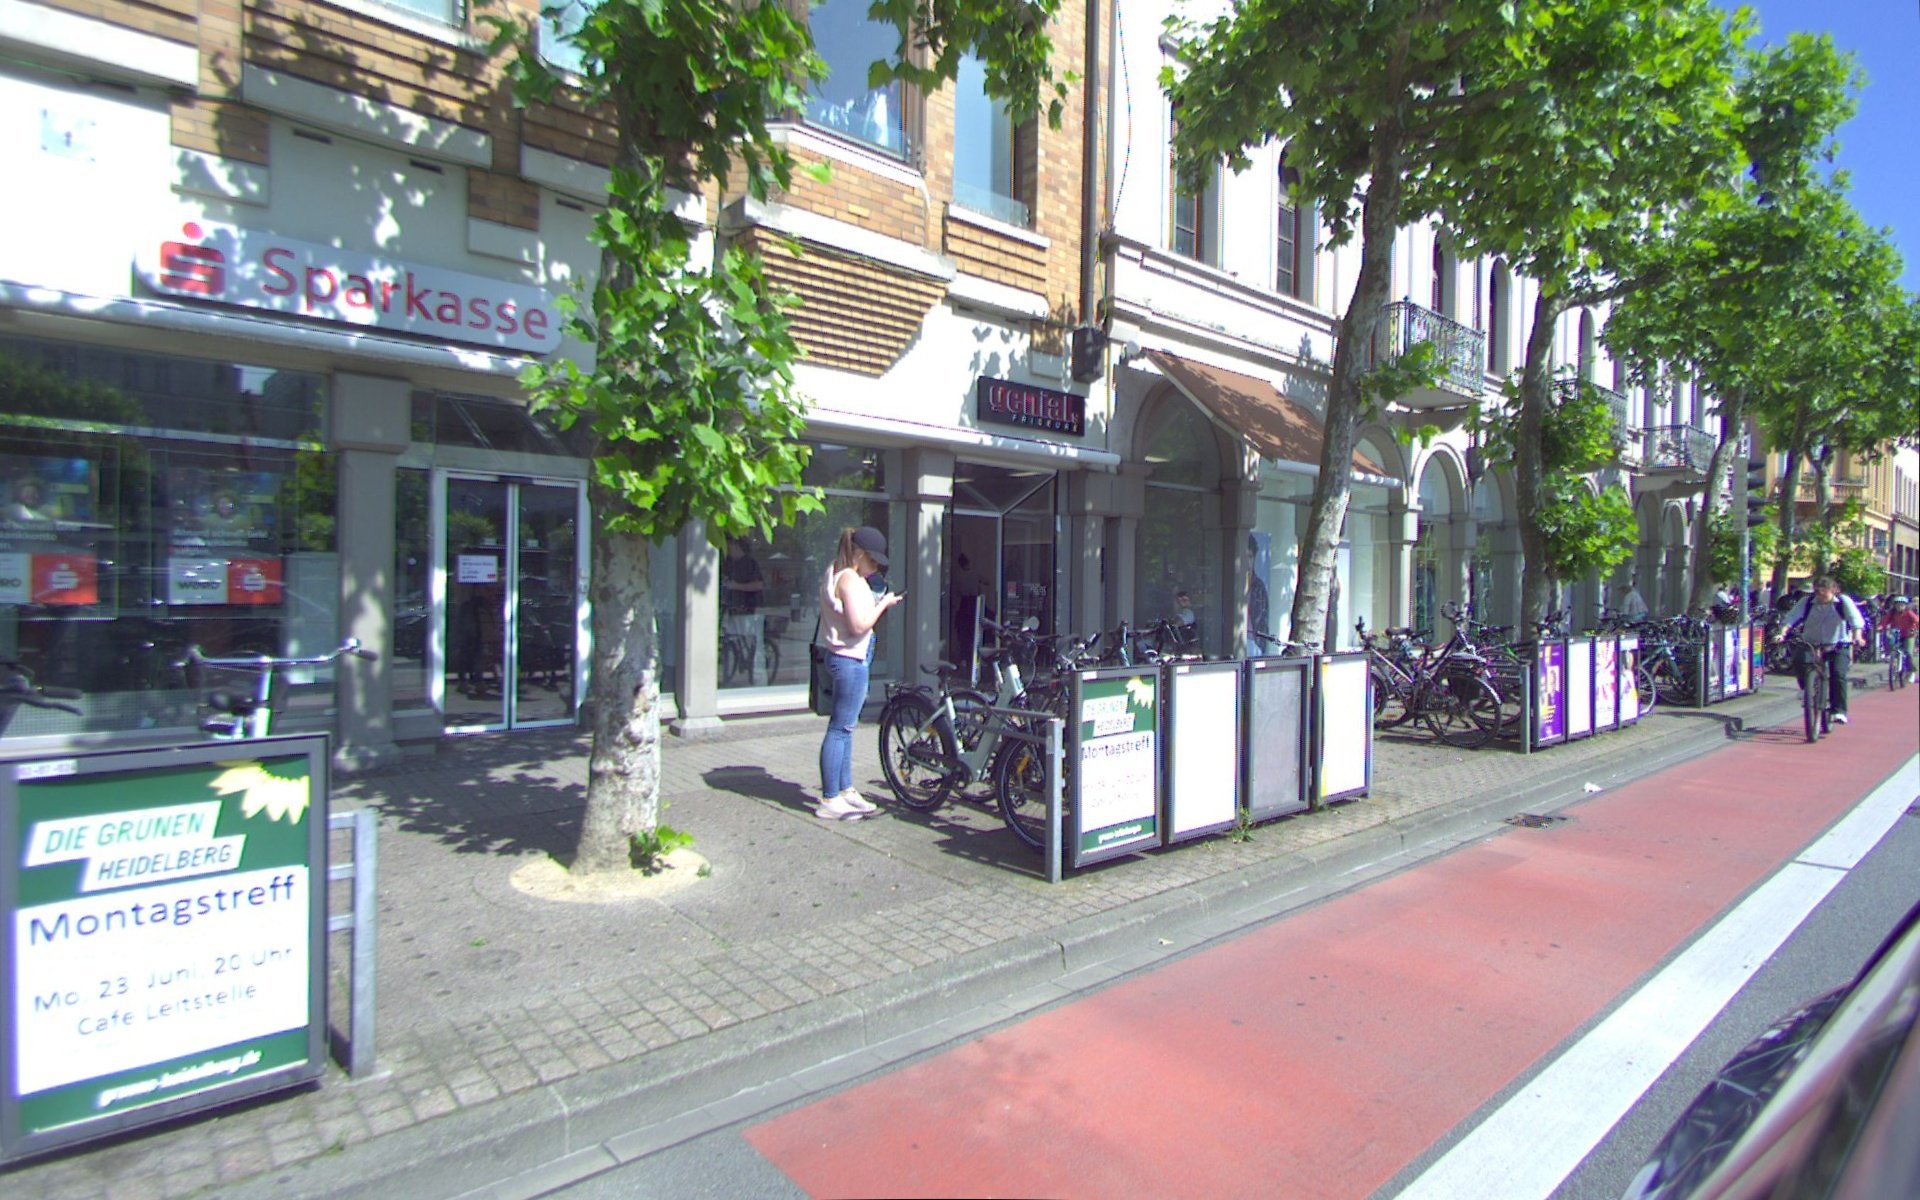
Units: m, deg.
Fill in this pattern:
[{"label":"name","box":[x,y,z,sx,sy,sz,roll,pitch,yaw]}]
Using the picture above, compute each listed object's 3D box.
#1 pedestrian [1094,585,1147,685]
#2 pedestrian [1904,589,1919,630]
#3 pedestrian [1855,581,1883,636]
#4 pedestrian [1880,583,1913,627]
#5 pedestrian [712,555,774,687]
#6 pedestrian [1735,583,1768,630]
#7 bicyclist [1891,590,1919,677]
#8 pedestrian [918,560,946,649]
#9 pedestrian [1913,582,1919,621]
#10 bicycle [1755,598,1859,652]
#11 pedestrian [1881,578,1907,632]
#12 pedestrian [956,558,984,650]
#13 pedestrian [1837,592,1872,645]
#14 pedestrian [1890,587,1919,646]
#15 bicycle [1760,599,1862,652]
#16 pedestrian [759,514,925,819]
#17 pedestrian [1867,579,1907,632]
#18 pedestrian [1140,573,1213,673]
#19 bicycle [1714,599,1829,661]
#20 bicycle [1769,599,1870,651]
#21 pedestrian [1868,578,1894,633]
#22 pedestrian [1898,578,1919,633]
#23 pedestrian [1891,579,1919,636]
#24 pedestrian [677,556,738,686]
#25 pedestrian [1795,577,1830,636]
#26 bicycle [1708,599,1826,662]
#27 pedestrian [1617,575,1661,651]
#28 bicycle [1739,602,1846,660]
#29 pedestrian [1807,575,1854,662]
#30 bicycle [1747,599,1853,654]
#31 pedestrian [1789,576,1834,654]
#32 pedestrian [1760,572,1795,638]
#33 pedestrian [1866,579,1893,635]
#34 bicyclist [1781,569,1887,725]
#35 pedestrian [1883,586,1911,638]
[{"label":"pedestrian","box":[2.081,0.441,13.187,0.581,1.268,0.727,-1,-1,3]},{"label":"pedestrian","box":[39.657,0.372,42.007,0.575,1.680,0.613,1,1,38]},{"label":"pedestrian","box":[28.565,0.275,31.796,0.612,1.706,0.577,0,-1,-44]},{"label":"pedestrian","box":[40.243,0.206,43.506,0.732,1.828,0.736,1,0,-14]},{"label":"pedestrian","box":[-2.386,0.226,11.126,0.413,1.405,0.517,-1,-1,44]},{"label":"pedestrian","box":[28.130,0.231,35.955,0.611,1.668,0.798,0,-1,-40]},{"label":"bicyclist","box":[15.957,0.549,16.783,0.765,1.414,0.689,0,-1,-42]},{"label":"pedestrian","box":[-0.446,0.074,16.173,0.407,1.405,0.525,-1,-1,2]},{"label":"pedestrian","box":[45.486,0.091,47.597,0.855,1.815,0.748,1,0,38]},{"label":"bicycle","box":[19.298,0.553,23.082,0.582,1.161,1.755,0,1,-42]},{"label":"pedestrian","box":[31.963,0.166,34.624,0.685,1.825,0.577,0,-1,-44]},{"label":"pedestrian","box":[0.161,0.067,15.764,0.407,1.405,0.525,-1,-1,2]},{"label":"pedestrian","box":[27.342,0.567,30.953,0.571,1.604,0.518,0,-1,-1]},{"label":"pedestrian","box":[27.840,0.476,29.641,0.567,1.706,0.622,-1,-1,1]},{"label":"bicycle","box":[19.772,0.564,23.547,0.582,1.161,1.755,0,1,-42]},{"label":"pedestrian","box":[-0.694,0.360,5.969,0.651,1.654,0.719,-1,-1,41]},{"label":"pedestrian","box":[33.196,0.208,36.250,0.838,1.869,0.623,0,-1,-2]},{"label":"pedestrian","box":[2.927,0.310,13.757,0.851,1.323,0.654,-1,-1,2]},{"label":"bicycle","box":[16.514,0.583,20.616,0.582,1.161,1.755,0,1,-42]},{"label":"bicycle","box":[20.279,0.564,23.912,0.582,1.161,1.755,0,1,-42]},{"label":"pedestrian","box":[30.035,0.185,32.996,0.612,1.762,0.577,0,-1,-44]},{"label":"pedestrian","box":[33.117,0.188,35.177,0.612,1.882,0.685,0,-1,-44]},{"label":"pedestrian","box":[28.652,0.235,30.653,0.762,1.706,0.577,0,-1,-44]},{"label":"pedestrian","box":[-2.814,0.230,11.269,0.413,1.405,0.517,-1,-1,44]},{"label":"pedestrian","box":[26.318,0.206,31.256,0.763,1.805,0.720,0,-1,-43]},{"label":"bicycle","box":[16.030,0.586,20.132,0.582,1.161,1.755,0,1,-42]},{"label":"pedestrian","box":[15.629,0.288,23.282,0.664,1.718,0.658,0,-1,-39]},{"label":"bicycle","box":[17.794,0.633,21.668,0.510,1.161,1.705,0,1,-42]},{"label":"pedestrian","box":[19.771,0.407,22.987,0.763,1.926,0.701,0,-1,-43]},{"label":"bicycle","box":[18.756,0.570,22.613,0.582,1.161,1.755,0,1,-42]},{"label":"pedestrian","box":[17.361,0.302,20.636,0.655,1.558,0.605,0,-1,-42]},{"label":"pedestrian","box":[23.149,0.141,28.650,0.763,1.816,0.634,0,-1,-43]},{"label":"pedestrian","box":[29.526,0.222,32.511,0.612,1.746,0.577,0,-1,-44]},{"label":"bicyclist","box":[9.422,0.480,10.908,0.765,1.597,0.749,0,-1,-42]},{"label":"pedestrian","box":[29.011,0.367,31.328,0.612,1.604,0.577,0,-1,-44]}]
